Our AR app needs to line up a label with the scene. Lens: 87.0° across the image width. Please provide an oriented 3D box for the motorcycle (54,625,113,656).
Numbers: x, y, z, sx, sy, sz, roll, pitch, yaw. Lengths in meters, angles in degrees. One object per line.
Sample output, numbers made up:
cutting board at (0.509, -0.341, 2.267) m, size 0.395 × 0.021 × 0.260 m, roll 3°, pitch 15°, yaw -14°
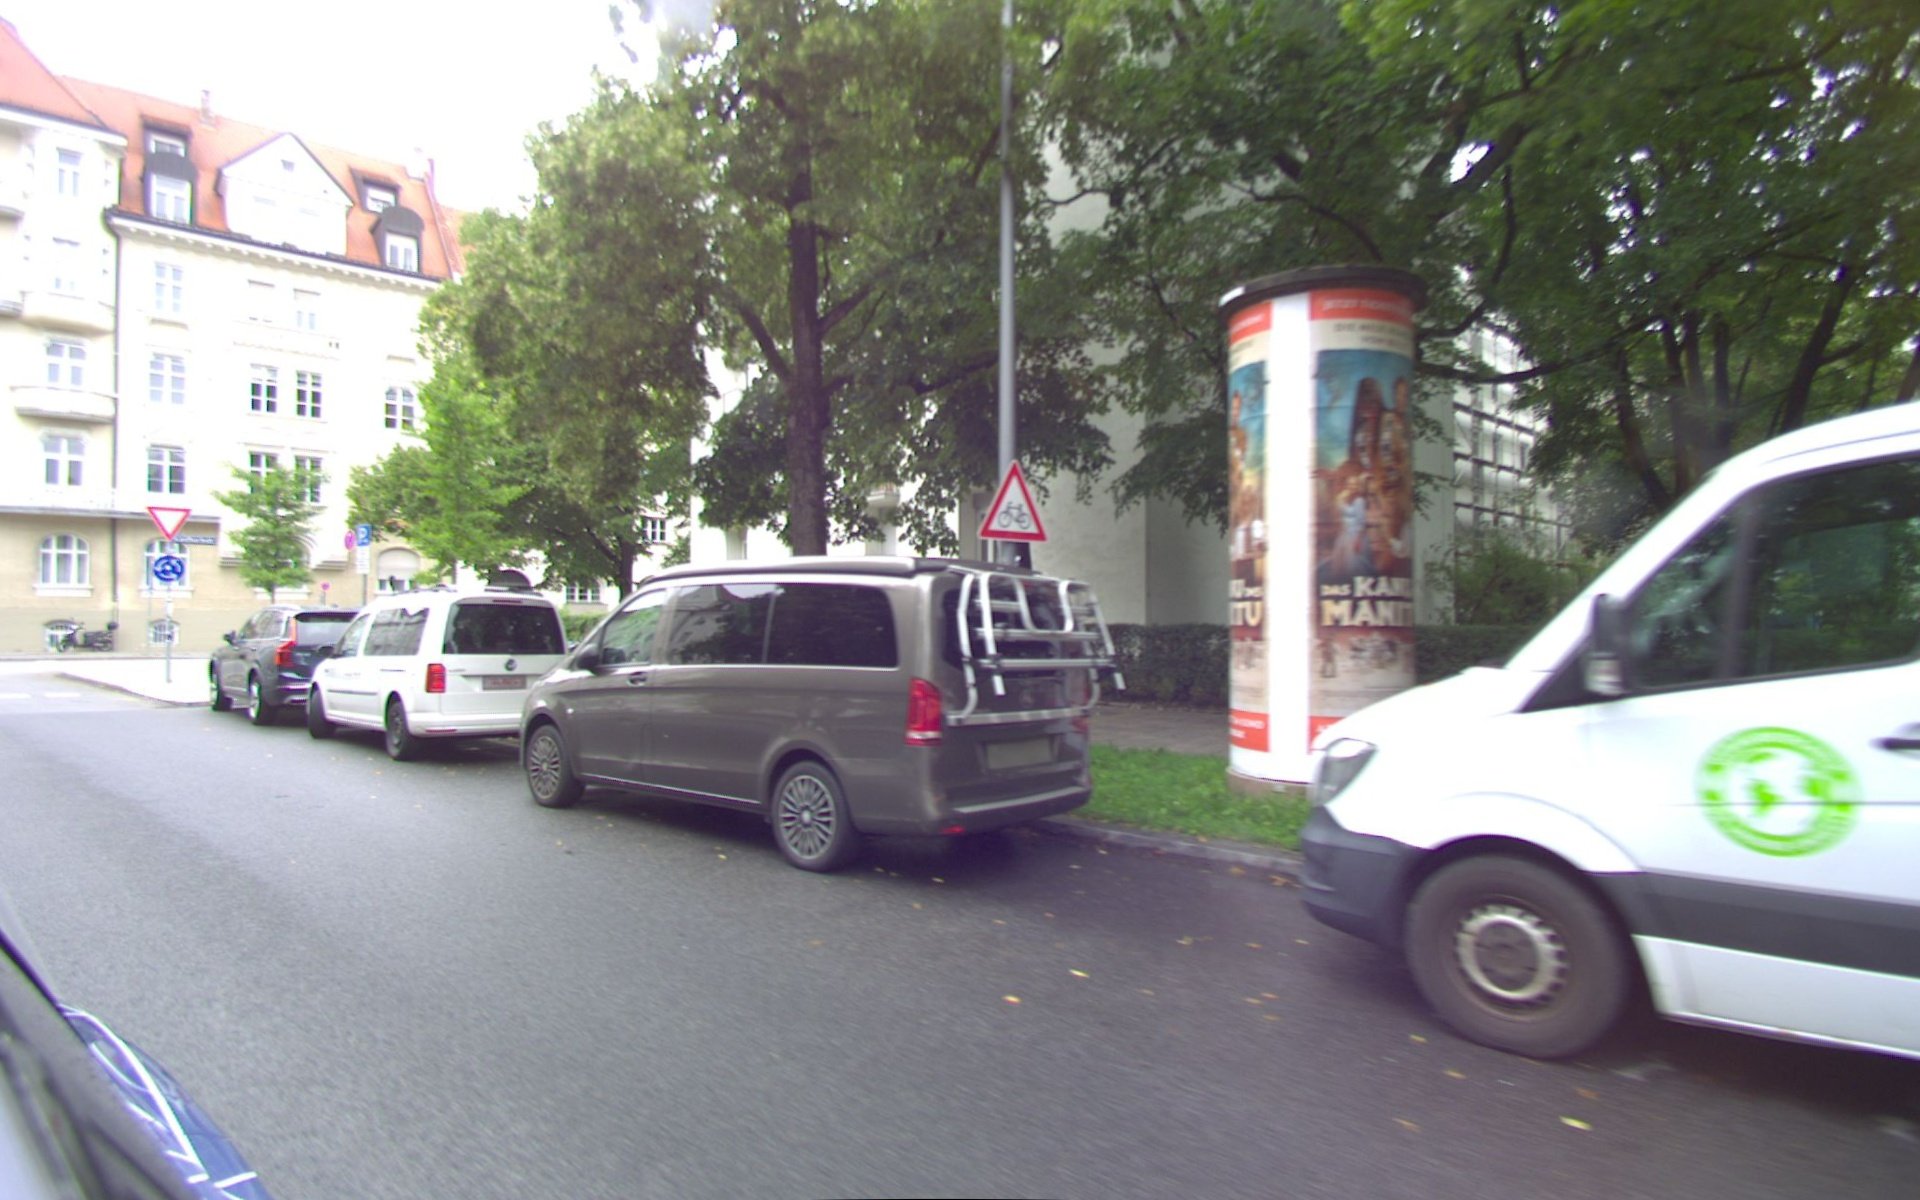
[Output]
motorcycle at (-35.038, 1.610, 40.471) m, size 0.742 × 1.195 × 1.720 m, roll -2°, pitch -2°, yaw 44°

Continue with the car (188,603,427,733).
car at (-10.530, 0.970, 16.144) m, size 5.307 × 1.732 × 2.060 m, roll -1°, pitch -2°, yaw 44°

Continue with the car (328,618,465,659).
car at (-24.675, 1.668, 44.433) m, size 4.914 × 1.688 × 2.002 m, roll 2°, pitch -2°, yaw -43°

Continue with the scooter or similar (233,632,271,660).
scooter or similar at (-28.807, 1.865, 41.213) m, size 0.535 × 1.117 × 1.345 m, roll 0°, pitch -2°, yaw 3°

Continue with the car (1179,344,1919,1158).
car at (3.722, 0.454, 3.307) m, size 5.601 × 2.282 × 2.061 m, roll -1°, pitch -4°, yaw 42°

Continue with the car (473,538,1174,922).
car at (-1.394, 0.734, 7.704) m, size 5.663 × 1.922 × 2.005 m, roll -1°, pitch -3°, yaw 41°

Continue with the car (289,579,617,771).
car at (-6.422, 0.809, 12.540) m, size 4.858 × 1.918 × 2.061 m, roll -1°, pitch -2°, yaw 43°
